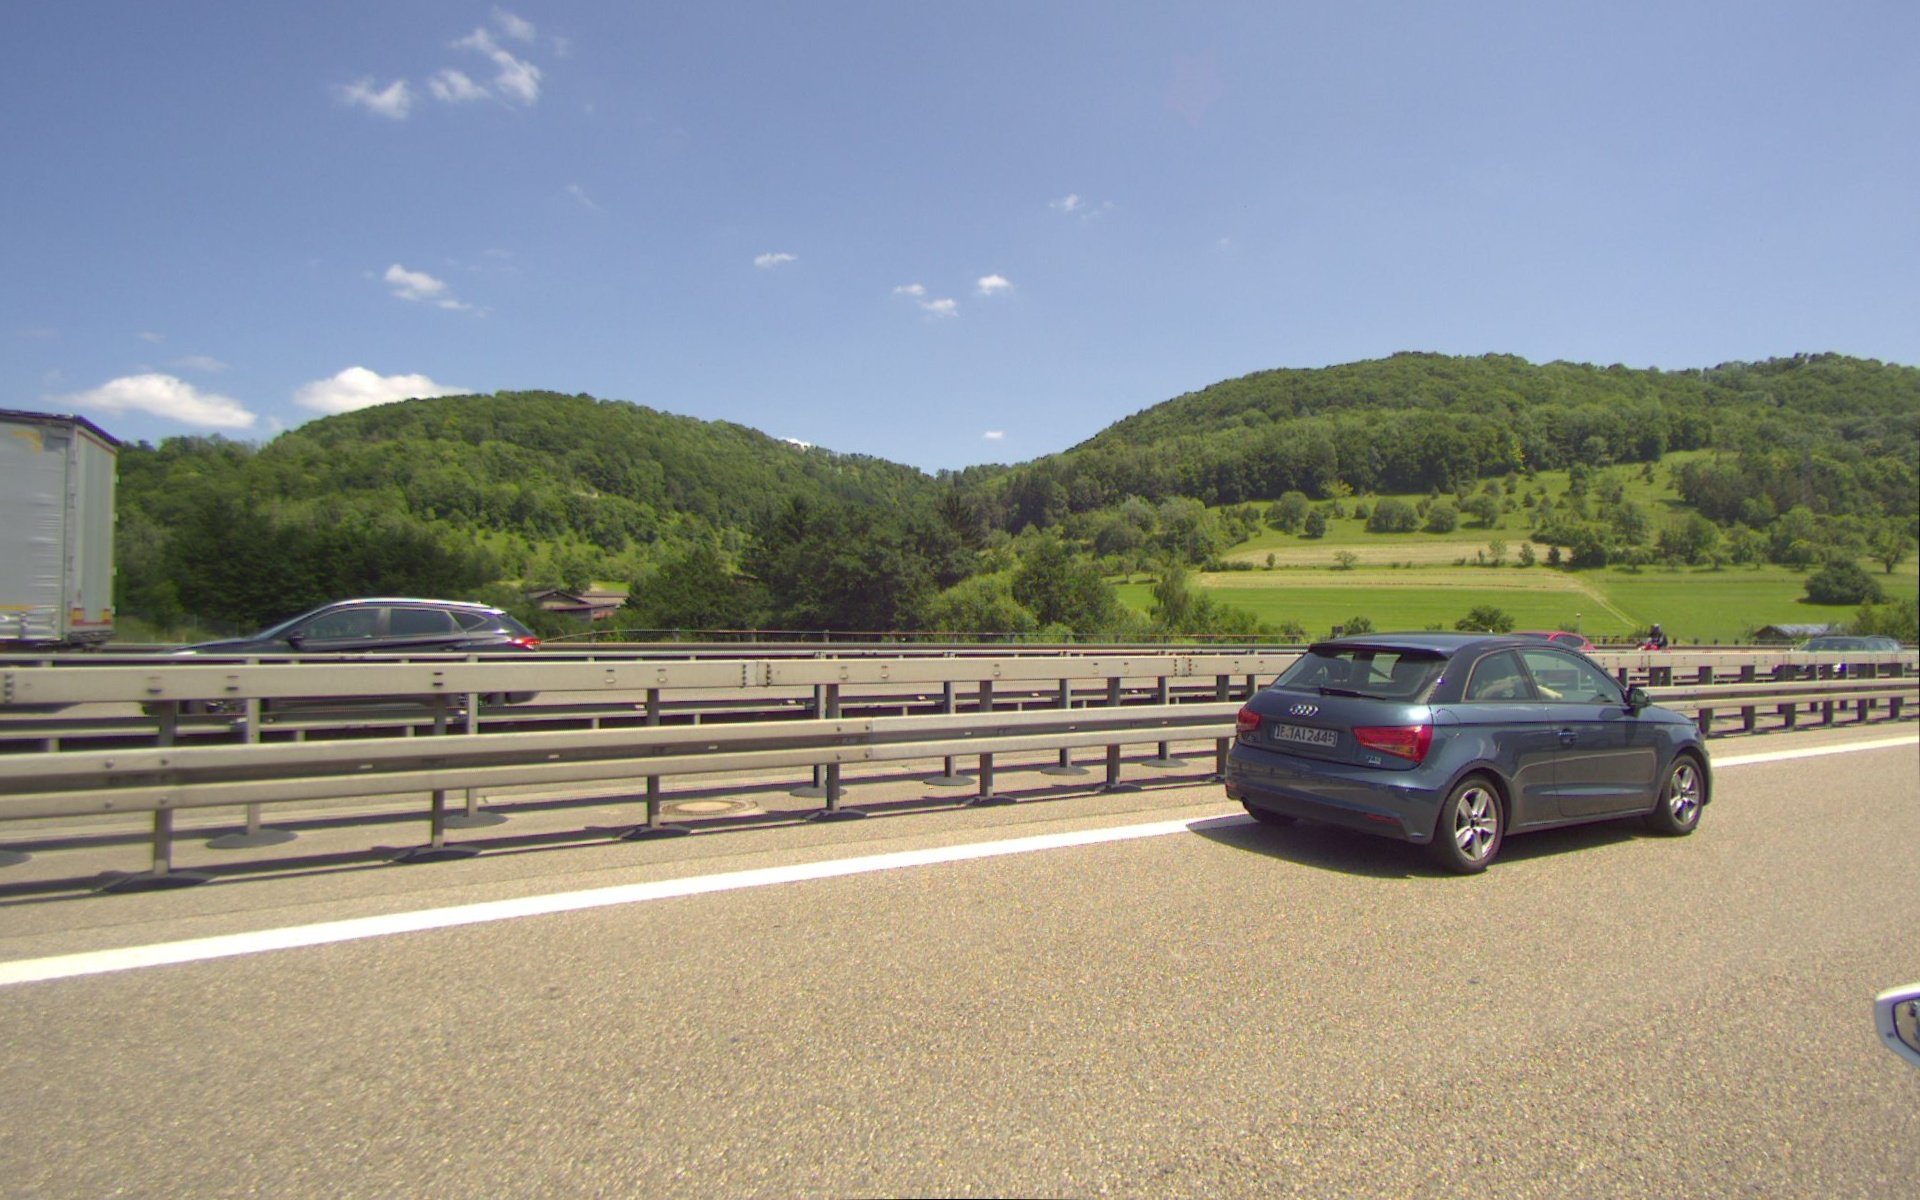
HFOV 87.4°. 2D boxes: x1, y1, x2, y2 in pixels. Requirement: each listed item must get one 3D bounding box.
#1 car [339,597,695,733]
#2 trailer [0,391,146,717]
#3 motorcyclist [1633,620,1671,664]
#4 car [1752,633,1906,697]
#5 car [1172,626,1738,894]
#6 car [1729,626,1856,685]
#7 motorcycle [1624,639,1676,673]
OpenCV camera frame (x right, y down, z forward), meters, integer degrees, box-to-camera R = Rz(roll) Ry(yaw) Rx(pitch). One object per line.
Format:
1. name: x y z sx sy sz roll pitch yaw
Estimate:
1. car: -6.109 0.841 14.065 4.304 1.639 1.860 1 -1 -30
2. trailer: -18.115 -0.797 11.754 12.848 4.260 3.231 2 0 -30
3. motorcyclist: 24.508 1.471 35.598 0.829 1.521 0.840 1 -1 -31
4. car: 22.761 1.653 26.275 4.576 1.487 1.740 2 -1 -31
5. car: 3.570 0.919 7.094 3.952 1.407 1.681 1 -1 -30
6. car: 28.286 1.864 34.114 4.226 1.816 1.984 2 0 -30
7. motorcycle: 24.441 1.978 35.561 2.106 1.164 0.714 2 -1 -31
